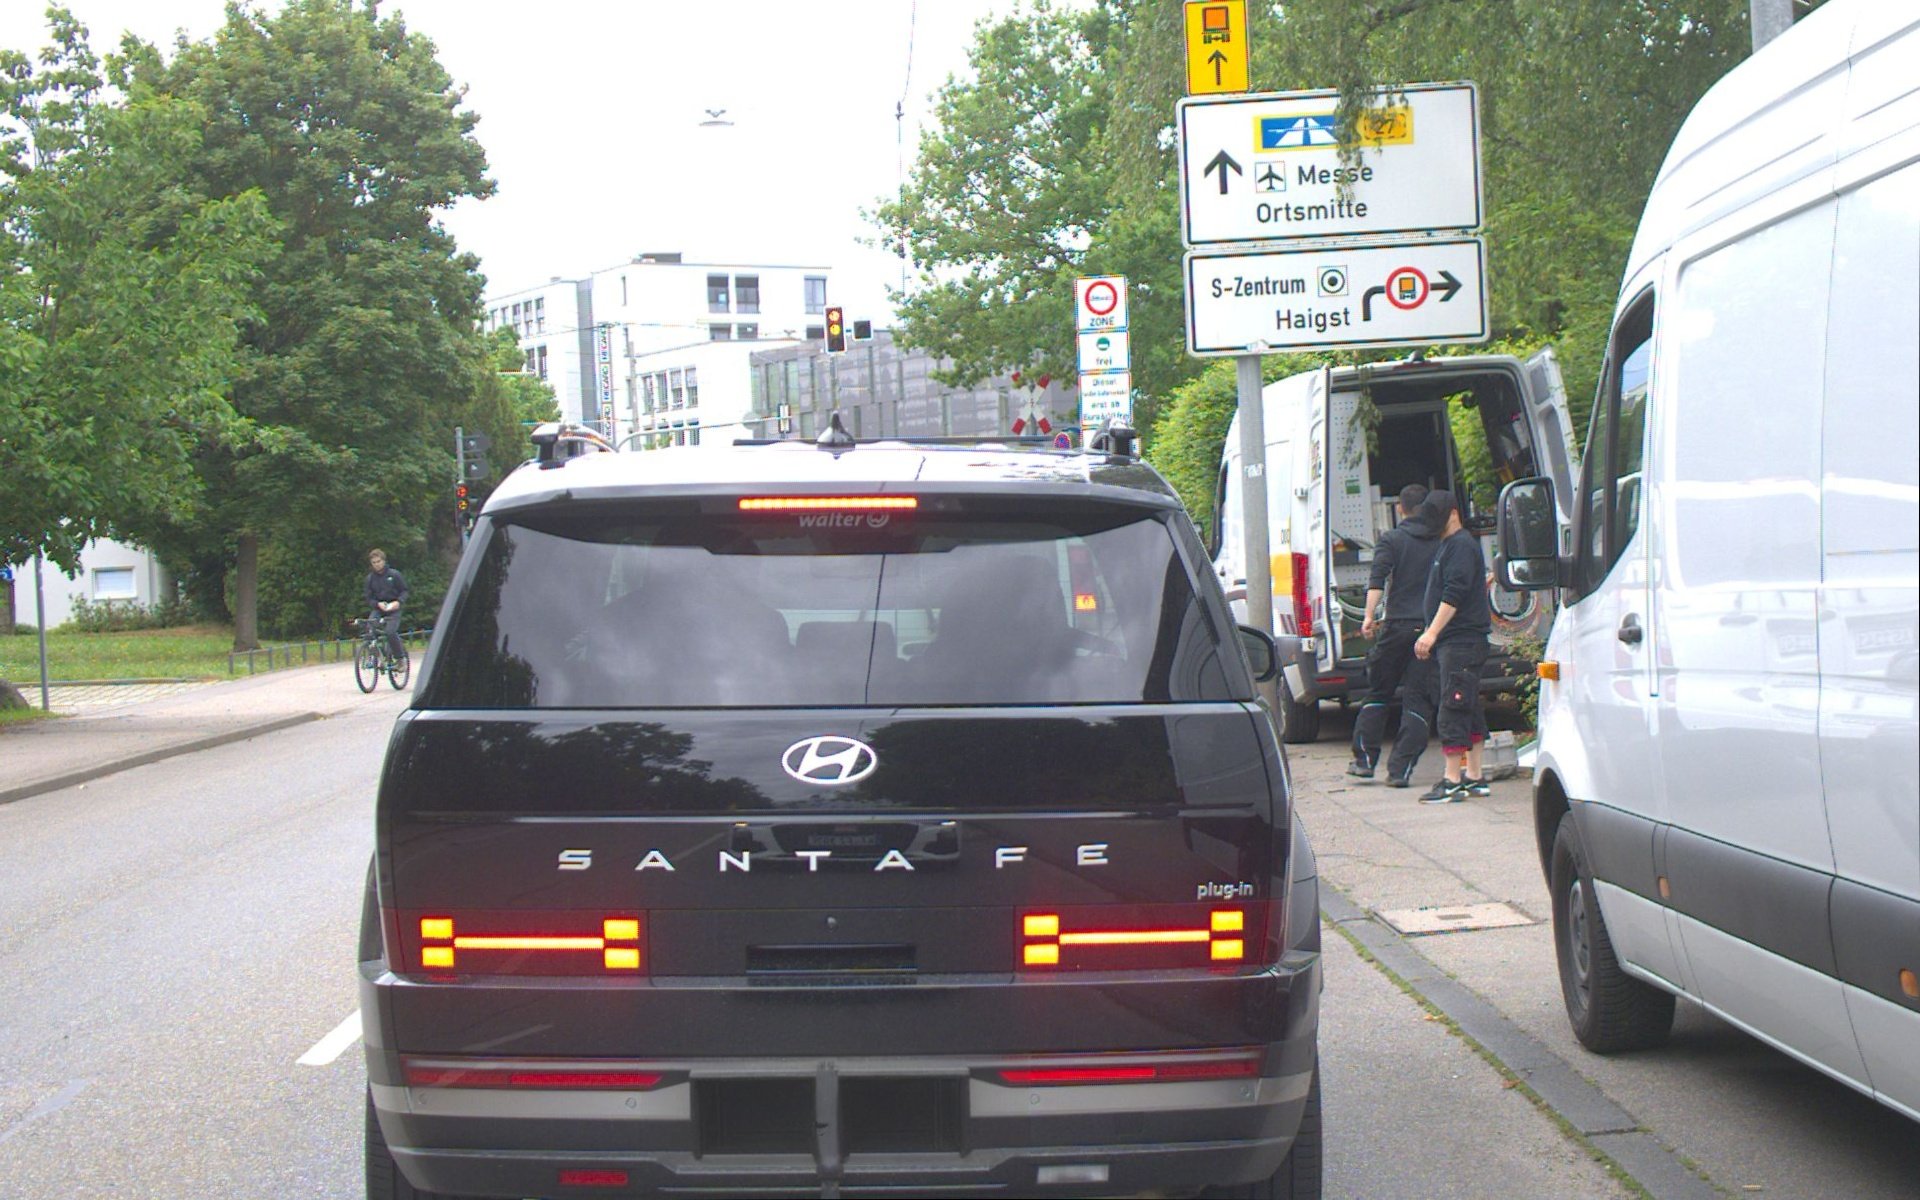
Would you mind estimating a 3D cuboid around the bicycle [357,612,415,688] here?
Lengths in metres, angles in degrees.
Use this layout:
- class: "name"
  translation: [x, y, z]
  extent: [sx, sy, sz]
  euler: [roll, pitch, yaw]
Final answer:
- class: "bicycle"
  translation: [-7.656, 0.659, 45.921]
  extent: [0.495, 0.961, 1.748]
  euler: [1, 1, -1]

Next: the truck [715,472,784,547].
- class: "truck"
  translation: [-11.566, -4.916, 188.254]
  extent: [3.107, 3.846, 9.623]
  euler: [-2, 1, -6]

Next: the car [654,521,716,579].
- class: "car"
  translation: [-11.539, -2.073, 143.941]
  extent: [2.332, 2.307, 4.959]
  euler: [-2, 1, -6]

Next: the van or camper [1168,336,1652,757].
- class: "van or camper"
  translation: [3.076, -0.340, 25.263]
  extent: [2.340, 2.486, 6.603]
  euler: [-5, 0, -1]

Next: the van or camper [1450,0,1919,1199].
- class: "van or camper"
  translation: [2.597, -0.020, 6.989]
  extent: [1.991, 2.616, 6.544]
  euler: [-5, 1, -1]

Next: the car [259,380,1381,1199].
- class: "car"
  translation: [-0.264, 0.503, 7.868]
  extent: [1.897, 1.770, 3.994]
  euler: [1, 1, -1]

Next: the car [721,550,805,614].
- class: "car"
  translation: [-4.738, -0.449, 83.132]
  extent: [1.756, 1.398, 4.414]
  euler: [-4, 1, -1]

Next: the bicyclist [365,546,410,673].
- class: "bicyclist"
  translation: [-7.643, 0.123, 45.894]
  extent: [0.487, 1.678, 0.588]
  euler: [1, 0, -1]

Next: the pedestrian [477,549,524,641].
- class: "pedestrian"
  translation: [-8.816, -0.097, 65.975]
  extent: [0.767, 1.742, 0.904]
  euler: [-1, 0, -1]

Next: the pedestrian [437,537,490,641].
- class: "pedestrian"
  translation: [-9.682, -0.222, 67.086]
  extent: [0.830, 2.007, 1.047]
  euler: [1, 0, 2]

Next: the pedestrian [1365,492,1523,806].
- class: "pedestrian"
  translation: [2.635, 0.260, 18.773]
  extent: [0.736, 1.638, 0.801]
  euler: [-3, 0, 6]

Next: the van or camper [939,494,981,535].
- class: "van or camper"
  translation: [-0.009, -4.275, 172.471]
  extent: [1.795, 1.992, 3.824]
  euler: [1, 1, -4]

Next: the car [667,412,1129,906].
- class: "car"
  translation: [-0.281, 0.227, 16.331]
  extent: [1.897, 2.035, 3.994]
  euler: [1, 1, -1]

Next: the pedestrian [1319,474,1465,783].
- class: "pedestrian"
  translation: [2.461, 0.154, 19.621]
  extent: [0.789, 1.715, 0.752]
  euler: [1, 0, 7]
